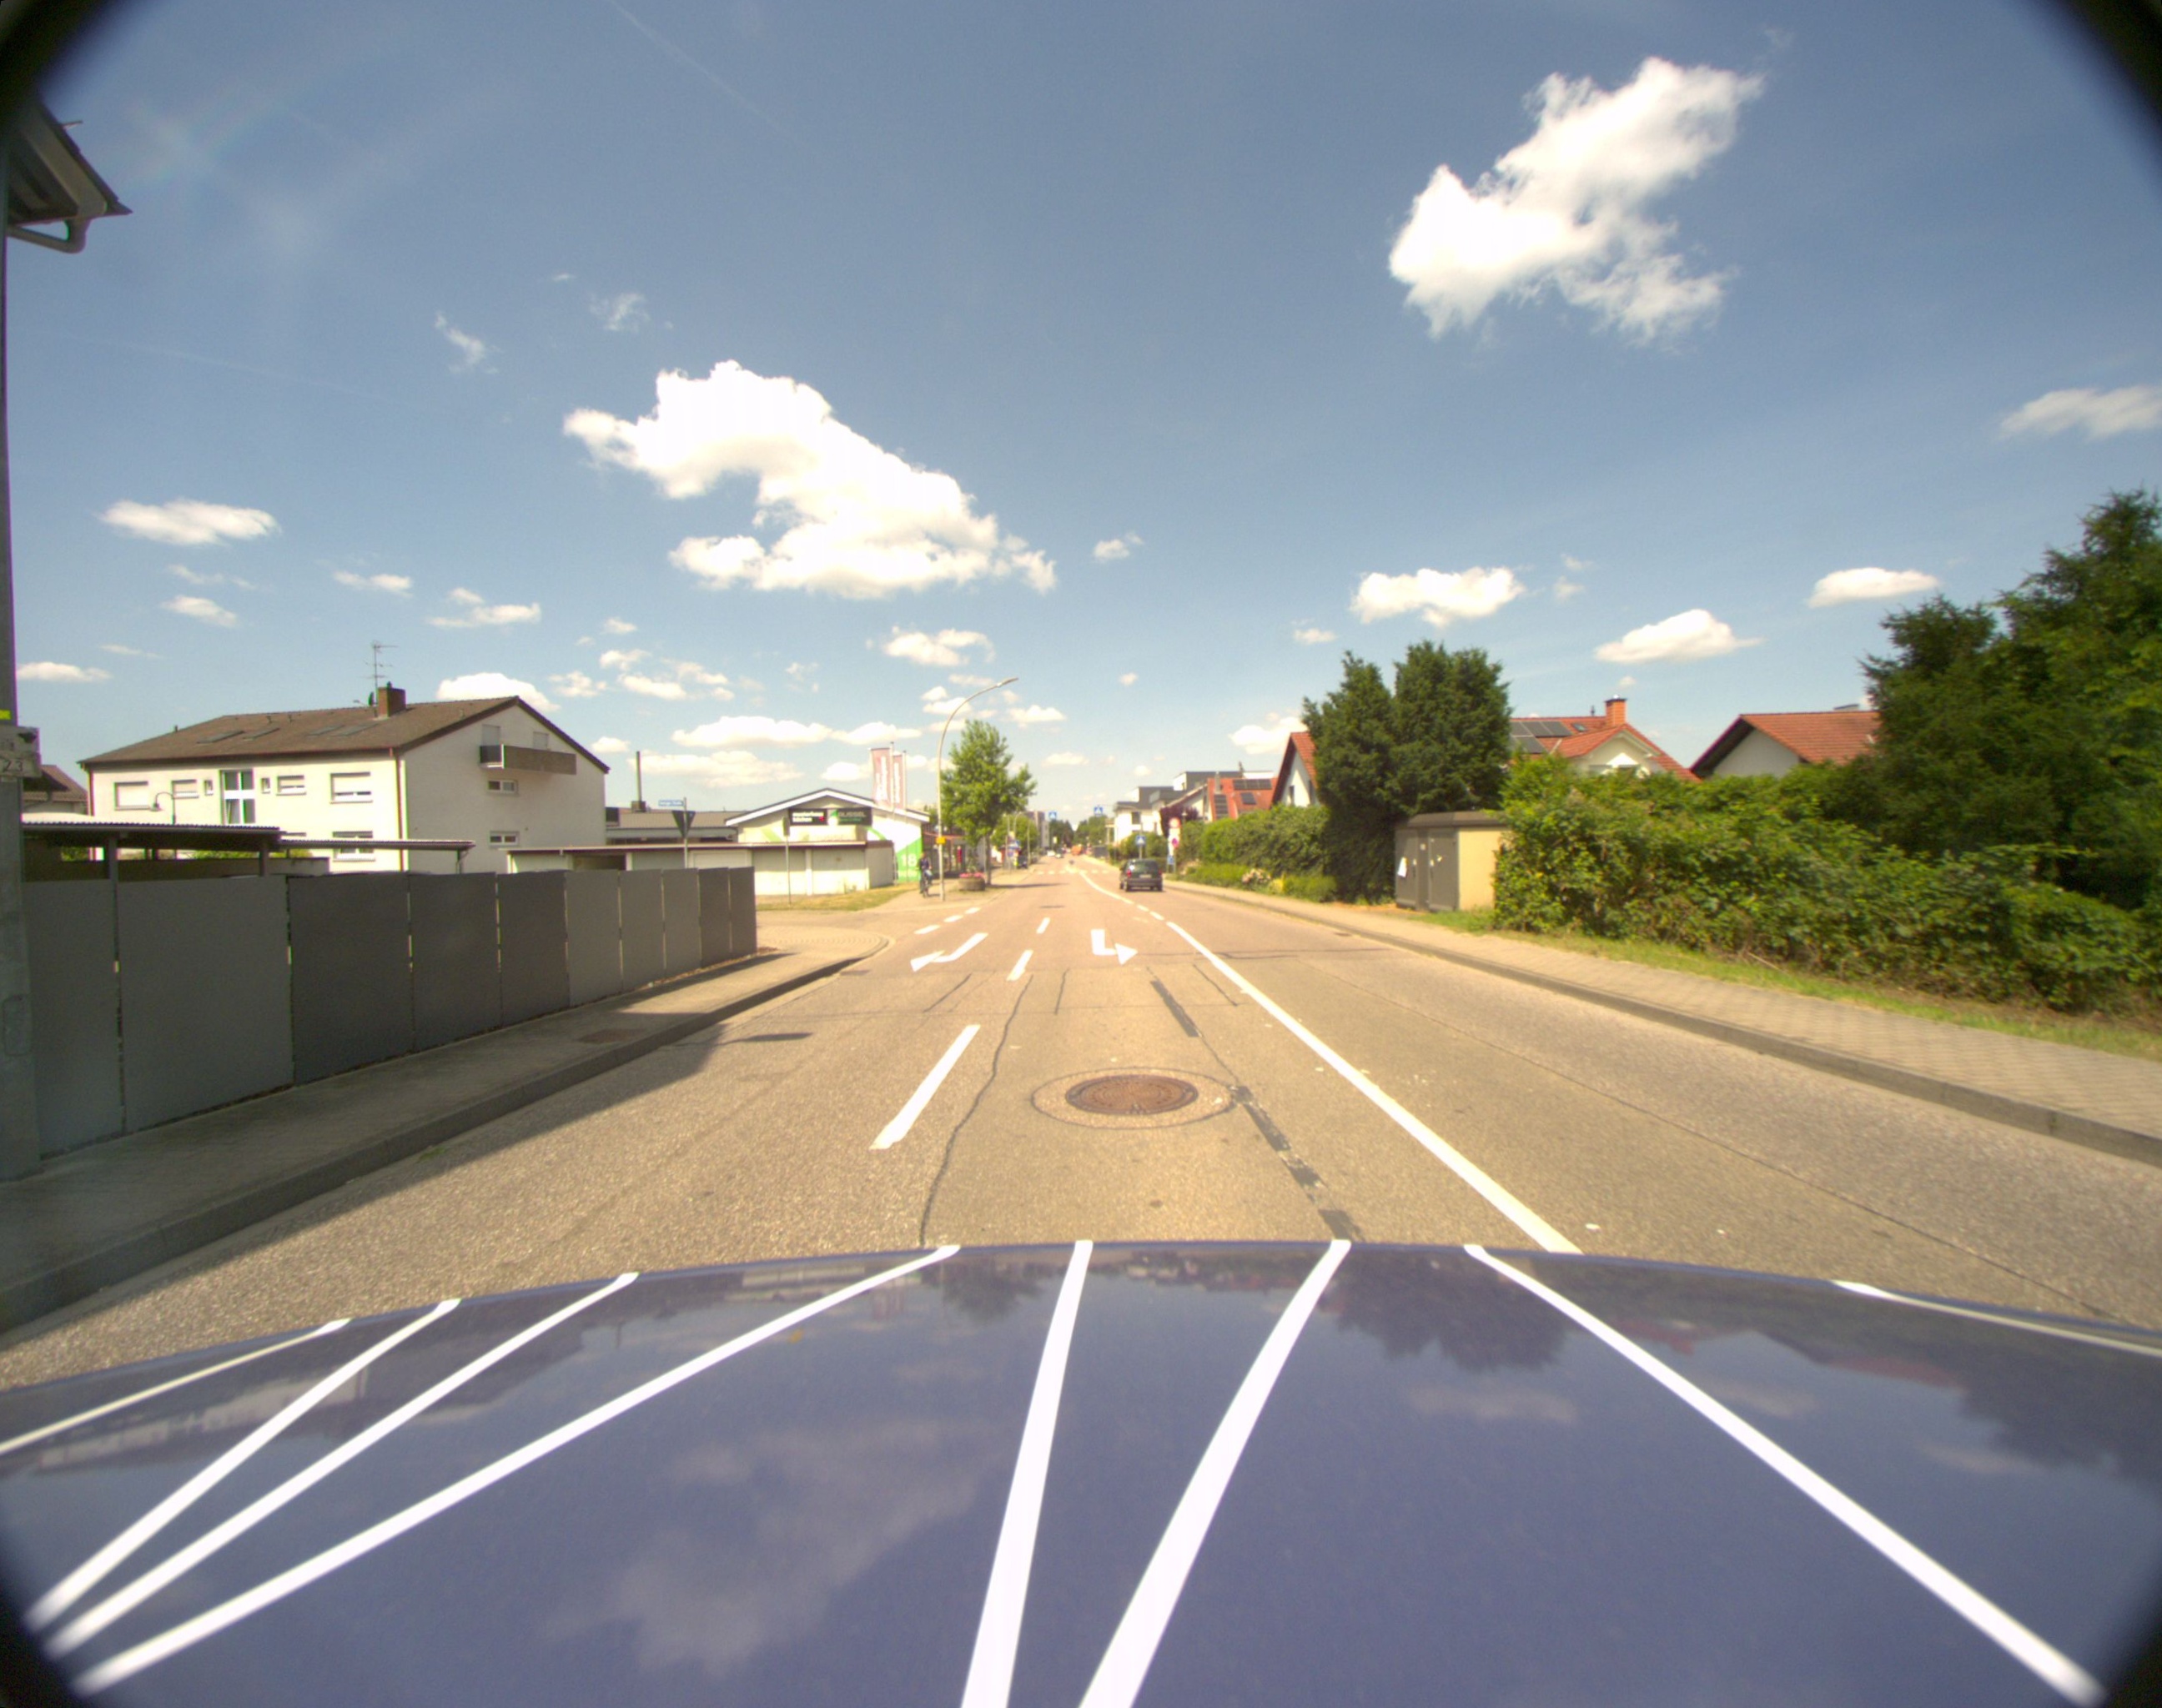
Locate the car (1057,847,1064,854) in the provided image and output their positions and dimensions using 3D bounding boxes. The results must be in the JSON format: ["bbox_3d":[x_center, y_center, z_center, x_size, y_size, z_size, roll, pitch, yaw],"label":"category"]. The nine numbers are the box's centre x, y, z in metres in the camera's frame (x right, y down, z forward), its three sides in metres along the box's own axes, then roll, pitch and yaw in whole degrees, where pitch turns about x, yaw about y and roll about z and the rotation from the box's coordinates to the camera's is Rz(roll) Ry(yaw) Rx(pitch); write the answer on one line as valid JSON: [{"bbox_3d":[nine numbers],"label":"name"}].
[{"bbox_3d":[-4.550,-0.807,169.061,1.729,1.484,3.759,0,1,-1],"label":"car"}]

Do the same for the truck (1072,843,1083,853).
[{"bbox_3d":[-0.955,-1.820,218.188,2.865,2.695,6.789,0,1,-2],"label":"truck"}]

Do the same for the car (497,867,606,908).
[{"bbox_3d":[-22.371,1.375,32.310,1.679,1.494,4.131,-1,1,0],"label":"car"}]

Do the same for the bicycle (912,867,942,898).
[{"bbox_3d":[-6.066,1.112,29.970,0.805,1.158,1.943,-1,0,-1],"label":"bicycle"}]

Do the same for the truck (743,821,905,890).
[{"bbox_3d":[-14.478,0.057,43.315,8.192,3.553,2.676,-2,2,-2],"label":"truck"}]

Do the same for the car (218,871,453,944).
[{"bbox_3d":[-18.611,1.257,19.294,1.741,1.638,4.217,-1,-1,2],"label":"car"}]

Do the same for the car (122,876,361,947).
[{"bbox_3d":[-21.027,1.374,19.307,1.741,1.577,3.854,-1,-1,2],"label":"car"}]

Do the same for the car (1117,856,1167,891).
[{"bbox_3d":[2.629,0.828,33.507,1.785,1.425,3.871,0,0,-1],"label":"car"}]

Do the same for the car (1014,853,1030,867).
[{"bbox_3d":[-6.785,0.680,87.986,1.729,1.484,3.759,0,1,-2],"label":"car"}]

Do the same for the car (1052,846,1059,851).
[{"bbox_3d":[-6.785,-1.417,199.077,1.729,1.484,3.759,0,1,-1],"label":"car"}]

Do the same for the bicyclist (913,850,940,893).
[{"bbox_3d":[-6.083,0.684,29.949,0.805,1.620,1.111,-1,0,-1],"label":"bicyclist"}]

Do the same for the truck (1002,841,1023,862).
[{"bbox_3d":[-9.349,-0.418,102.881,2.580,2.745,6.329,0,1,-7],"label":"truck"}]

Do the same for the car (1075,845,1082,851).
[{"bbox_3d":[-0.581,-1.574,203.010,1.799,1.480,3.612,0,1,-2],"label":"car"}]
